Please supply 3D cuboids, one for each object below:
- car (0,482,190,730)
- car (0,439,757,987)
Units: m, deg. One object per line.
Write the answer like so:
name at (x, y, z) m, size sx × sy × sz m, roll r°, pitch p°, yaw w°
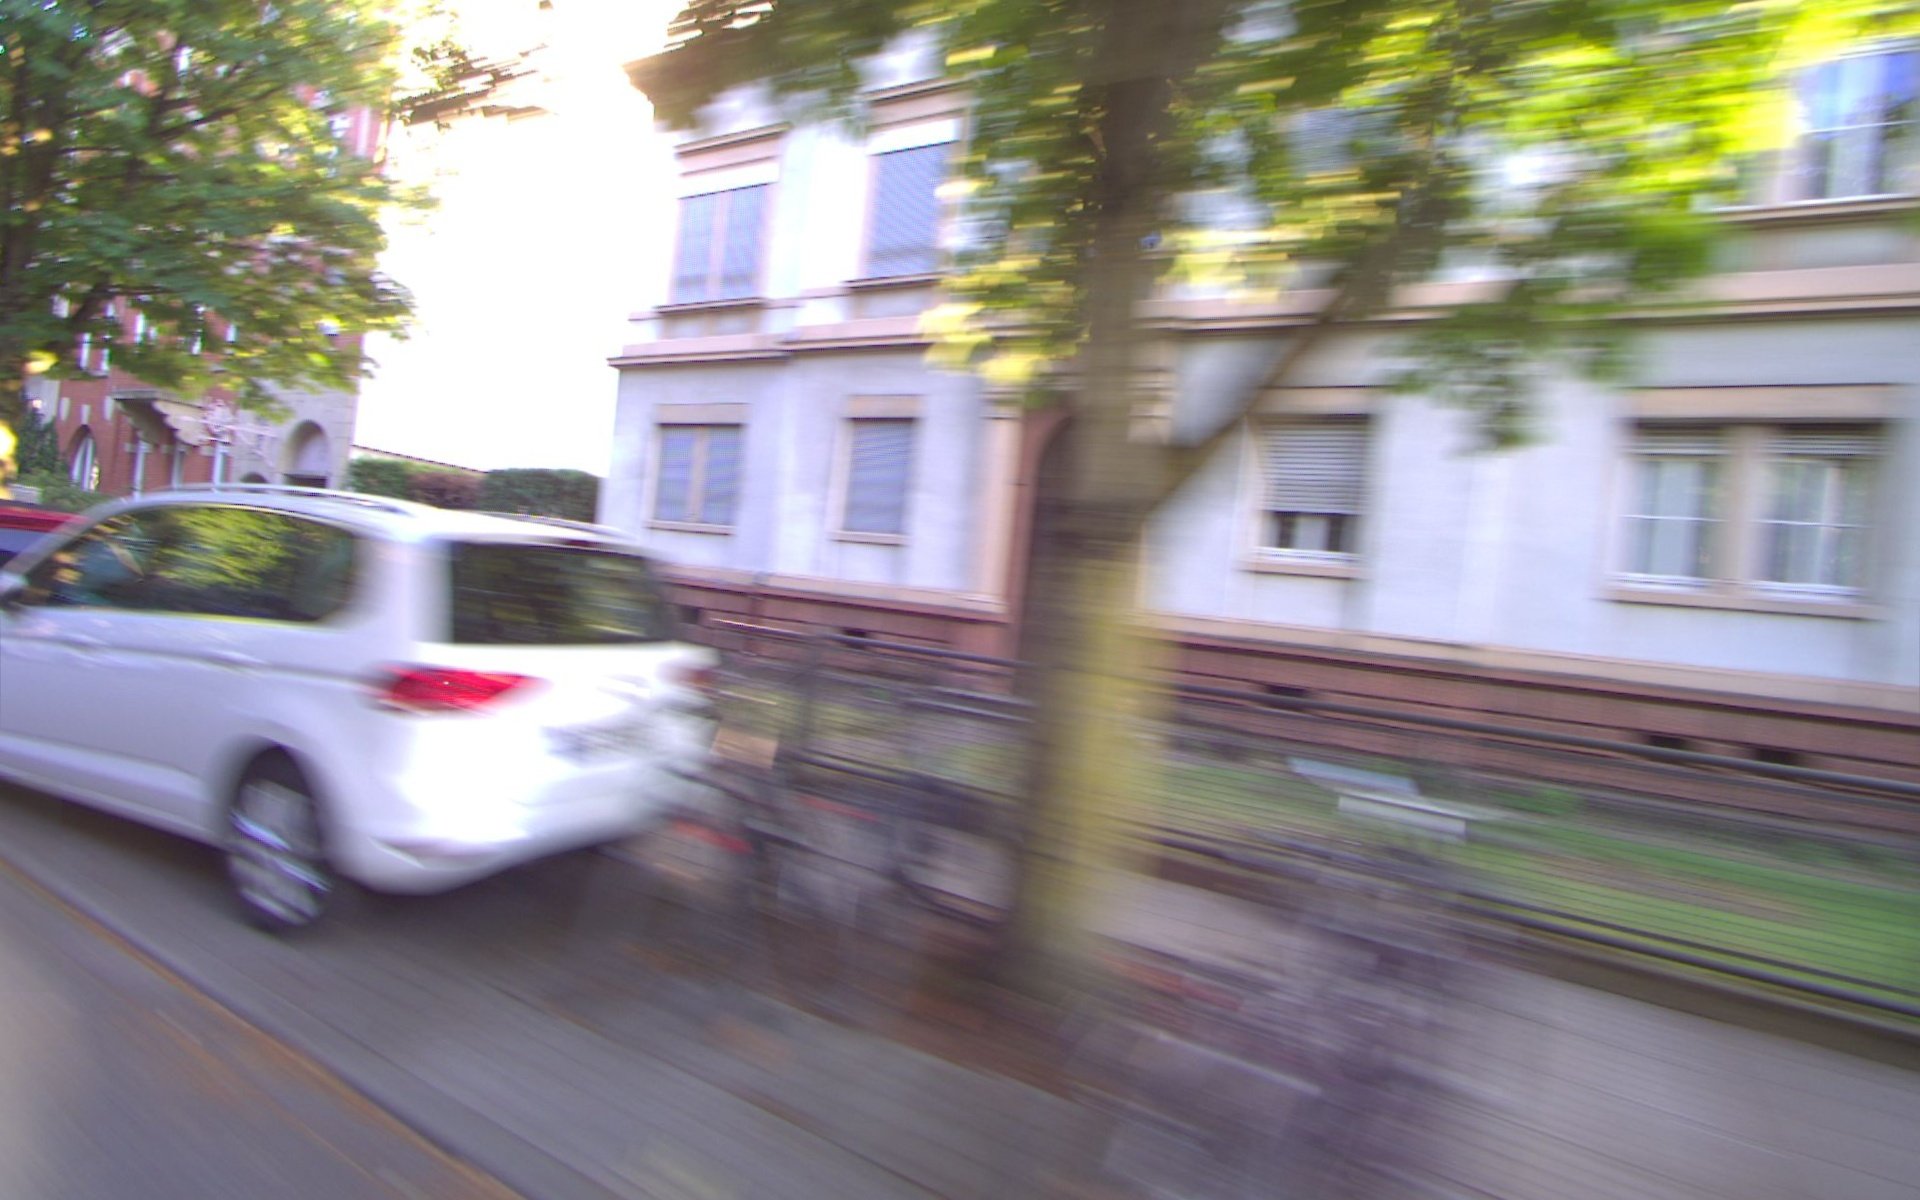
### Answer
car at (-7.384, -0.129, 7.248) m, size 3.632 × 1.519 × 1.665 m, roll 7°, pitch 2°, yaw 31°
car at (-3.213, 0.246, 4.906) m, size 4.046 × 1.701 × 1.667 m, roll 7°, pitch 2°, yaw 25°
